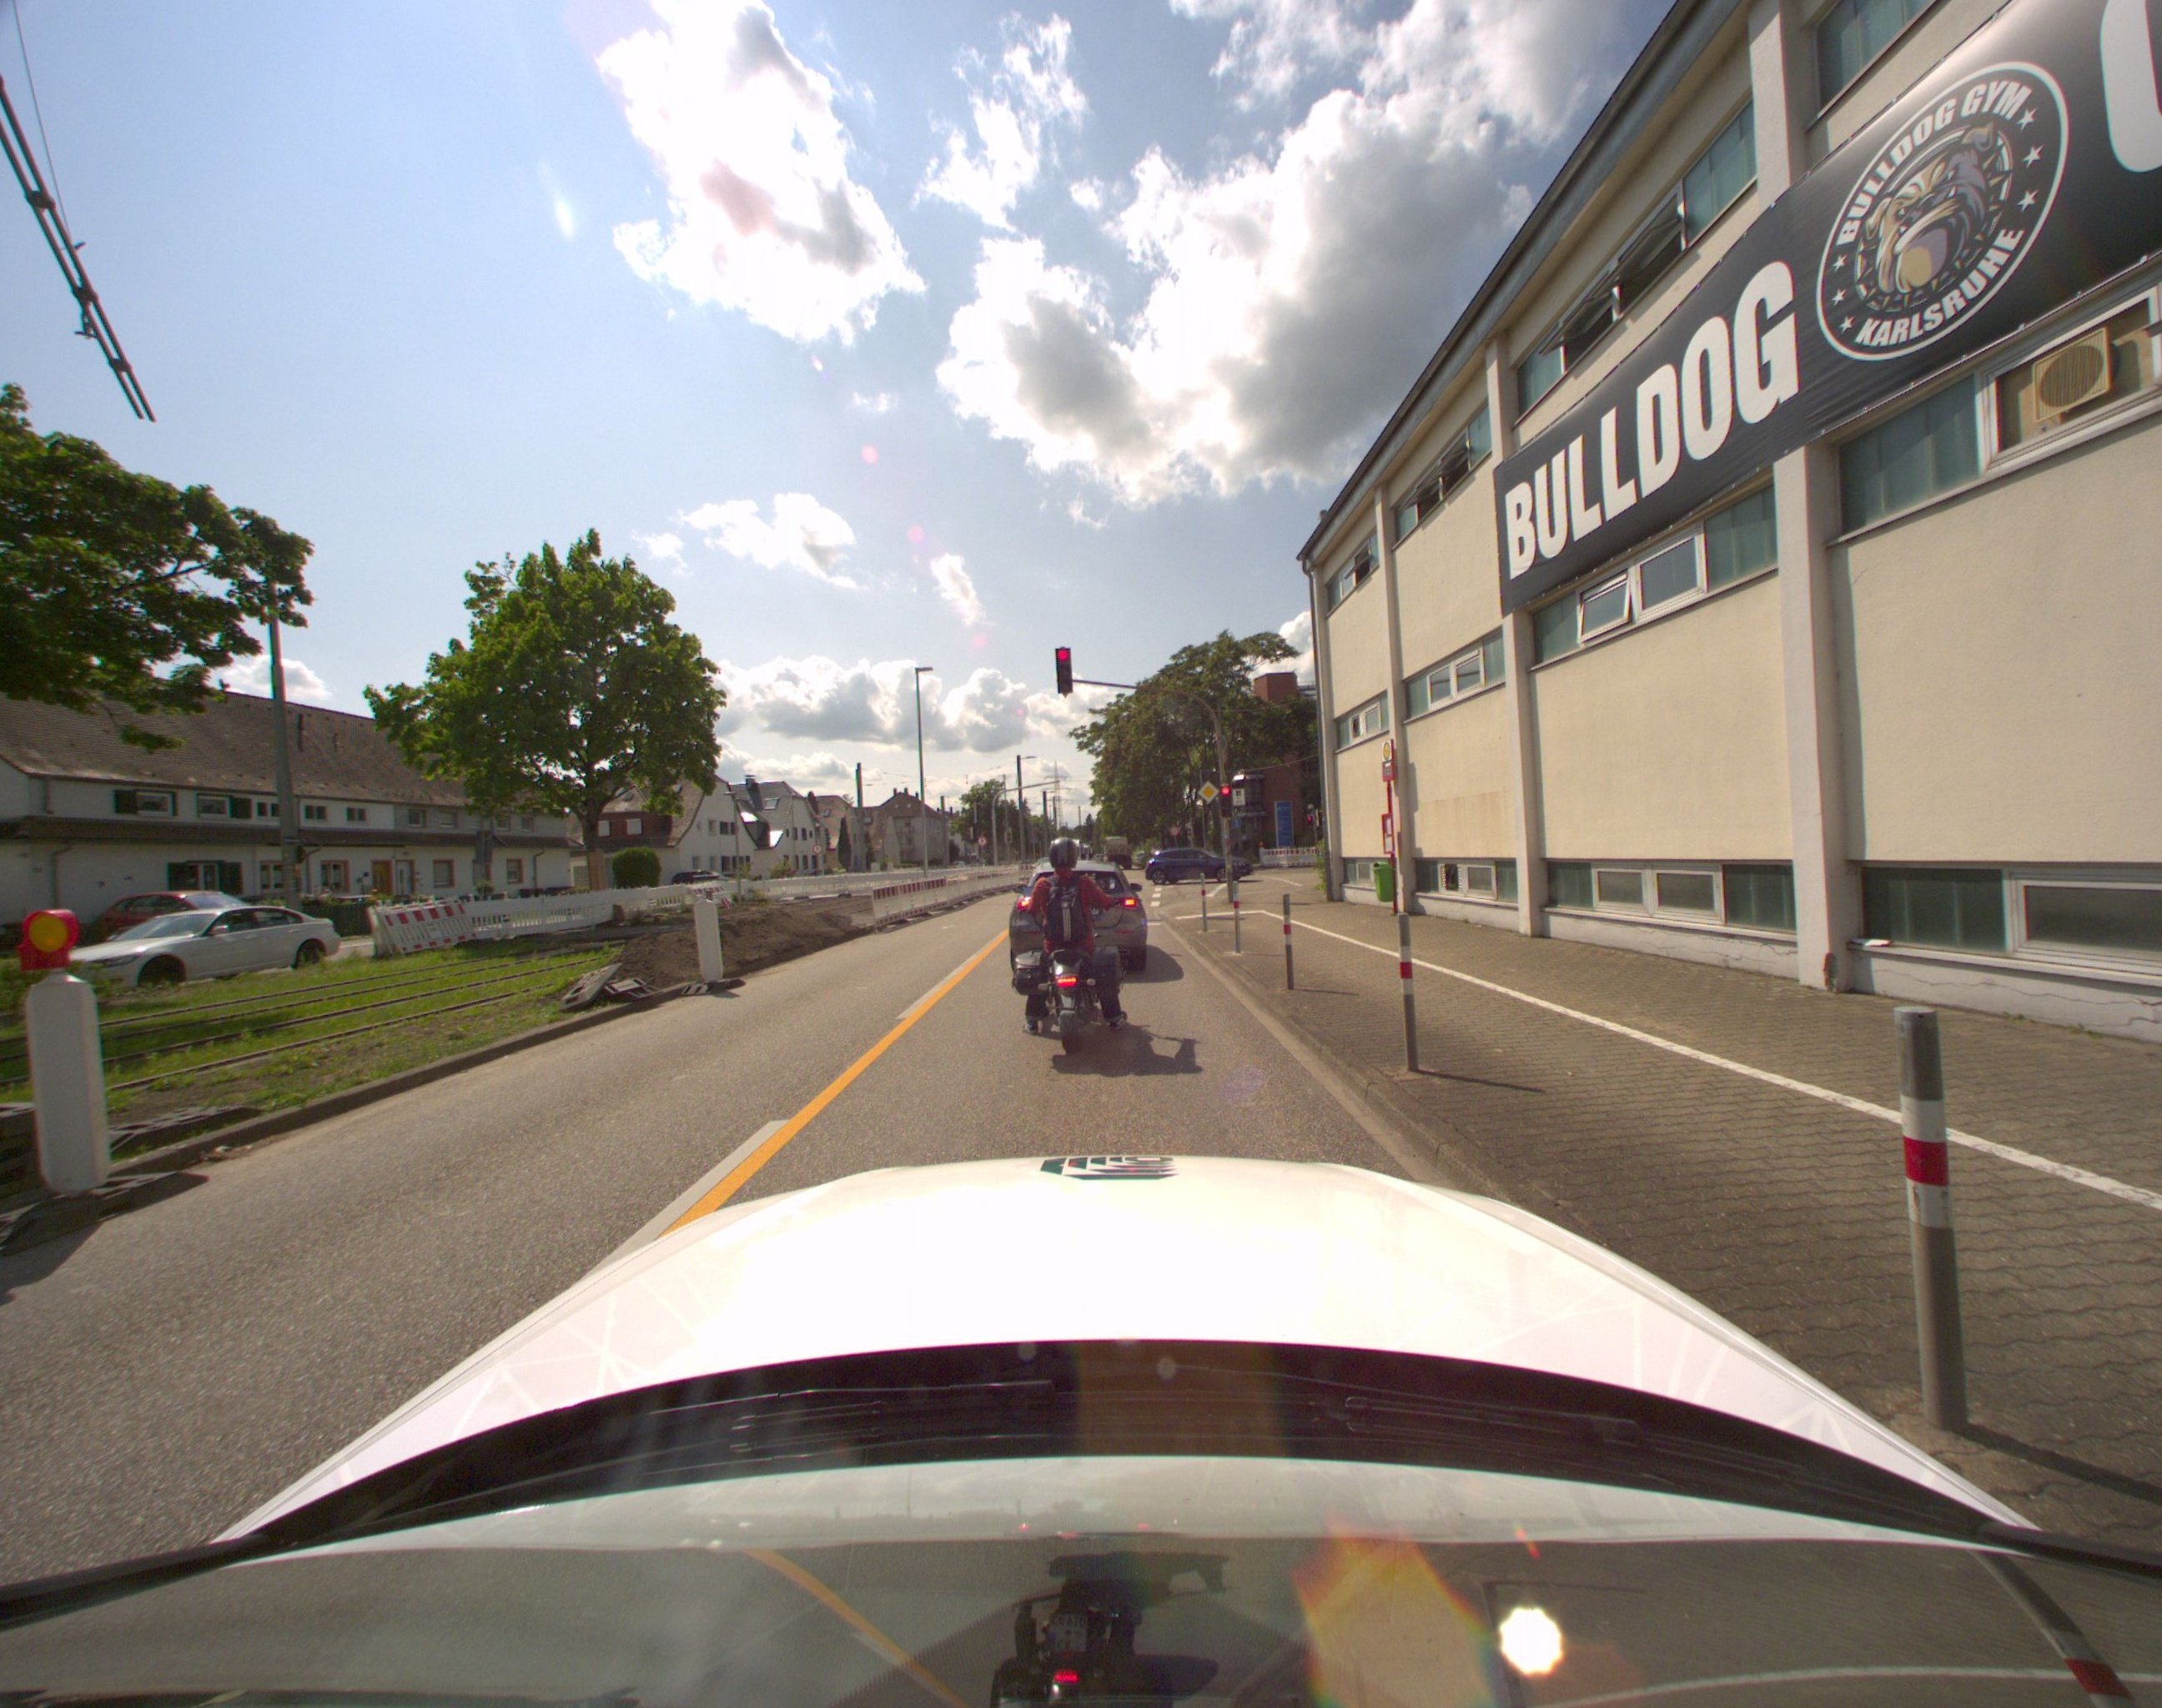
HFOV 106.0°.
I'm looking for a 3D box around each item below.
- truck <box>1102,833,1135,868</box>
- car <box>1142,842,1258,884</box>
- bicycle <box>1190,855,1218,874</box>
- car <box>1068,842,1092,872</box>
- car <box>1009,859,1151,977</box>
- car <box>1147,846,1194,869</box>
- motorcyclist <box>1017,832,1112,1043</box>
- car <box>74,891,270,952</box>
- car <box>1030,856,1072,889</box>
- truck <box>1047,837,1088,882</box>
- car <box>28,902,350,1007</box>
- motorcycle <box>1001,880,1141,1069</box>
[{"bbox_3d":[3.702,-0.250,79.067,2.954,3.173,7.771,-1,-1,4],"label":"truck"},{"bbox_3d":[4.762,0.378,32.655,4.216,1.498,1.659,-2,0,24],"label":"car"},{"bbox_3d":[7.802,0.654,51.542,1.699,1.172,0.438,-1,-1,6],"label":"bicycle"},{"bbox_3d":[-0.023,0.254,60.220,1.583,2.143,3.628,-1,-1,2],"label":"car"},{"bbox_3d":[-0.125,0.791,12.038,1.728,1.403,4.081,-1,0,-3],"label":"car"},{"bbox_3d":[7.766,0.296,70.541,4.023,1.926,1.781,-1,-1,-44],"label":"car"},{"bbox_3d":[-0.118,0.642,6.593,0.696,1.604,0.692,-1,-1,1],"label":"motorcyclist"},{"bbox_3d":[-27.973,2.050,25.151,3.974,1.509,1.725,-3,0,-1],"label":"car"},{"bbox_3d":[-1.439,0.880,40.550,1.738,1.437,4.084,-4,-1,1],"label":"car"},{"bbox_3d":[-0.771,0.264,50.335,2.085,2.476,5.199,-4,1,2],"label":"truck"},{"bbox_3d":[-16.369,1.745,15.335,1.538,1.376,4.245,-3,0,-4],"label":"car"},{"bbox_3d":[-0.043,0.868,6.846,0.939,1.200,2.473,-1,0,1],"label":"motorcycle"}]
